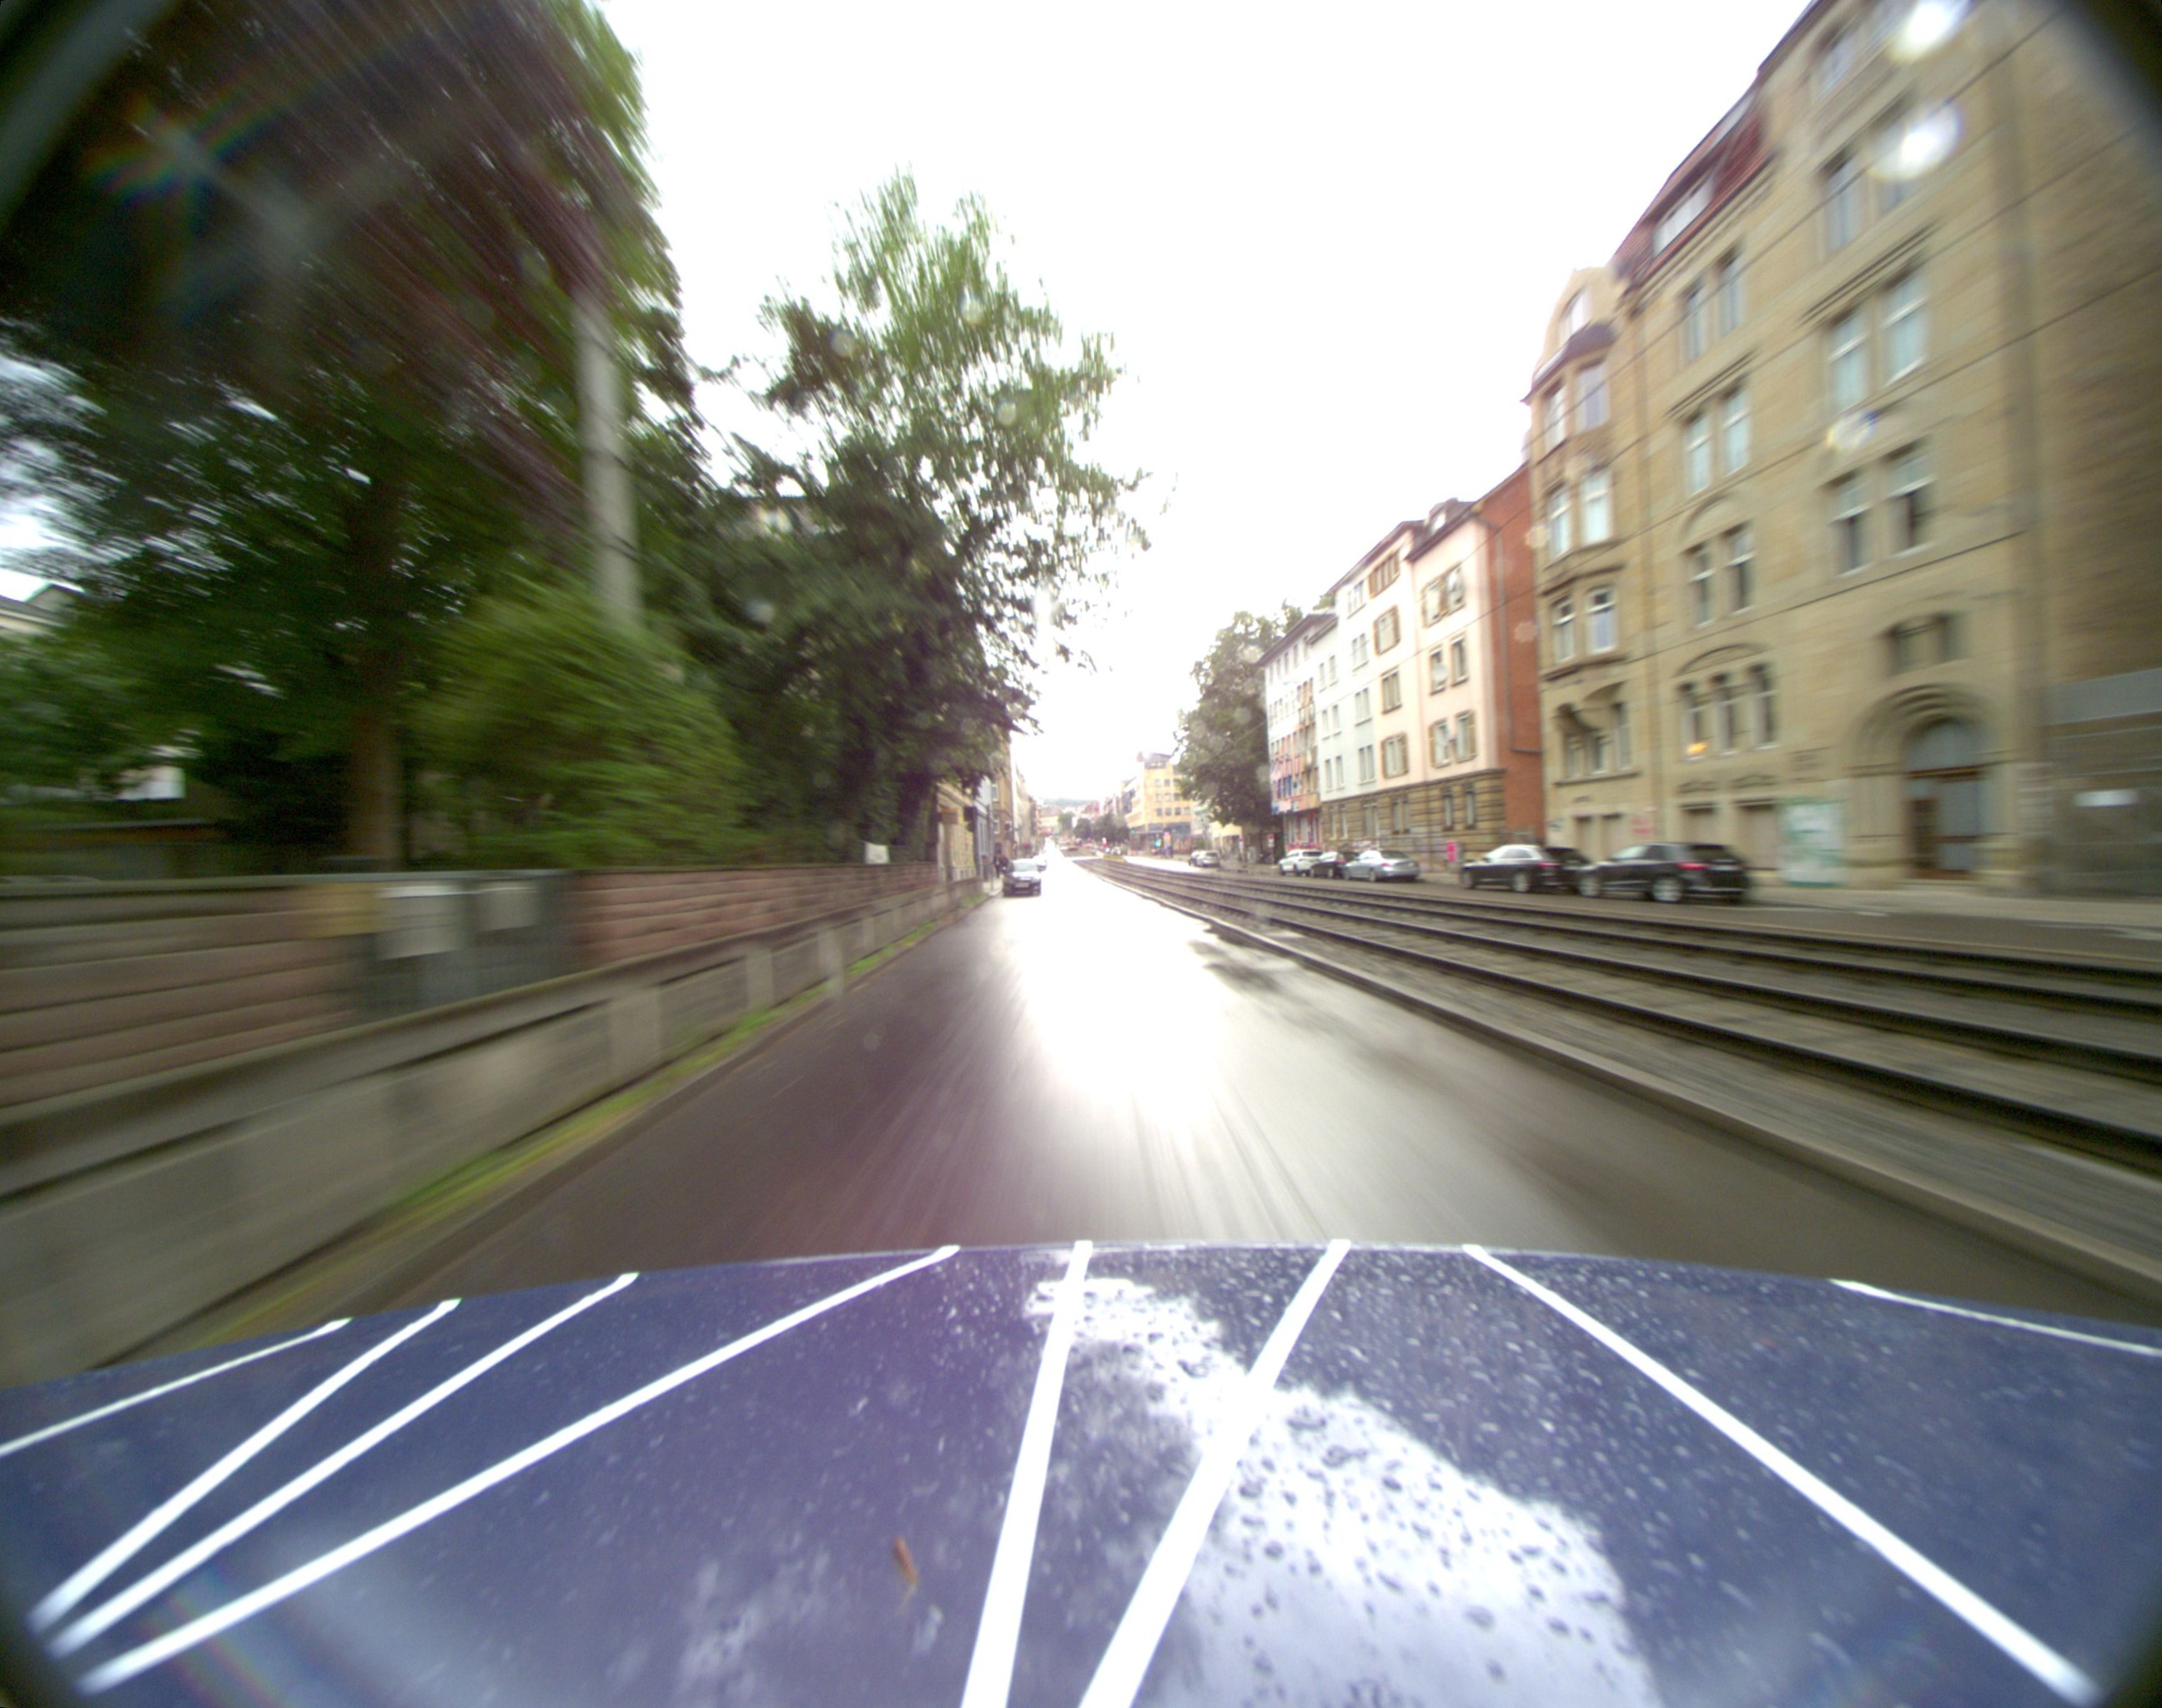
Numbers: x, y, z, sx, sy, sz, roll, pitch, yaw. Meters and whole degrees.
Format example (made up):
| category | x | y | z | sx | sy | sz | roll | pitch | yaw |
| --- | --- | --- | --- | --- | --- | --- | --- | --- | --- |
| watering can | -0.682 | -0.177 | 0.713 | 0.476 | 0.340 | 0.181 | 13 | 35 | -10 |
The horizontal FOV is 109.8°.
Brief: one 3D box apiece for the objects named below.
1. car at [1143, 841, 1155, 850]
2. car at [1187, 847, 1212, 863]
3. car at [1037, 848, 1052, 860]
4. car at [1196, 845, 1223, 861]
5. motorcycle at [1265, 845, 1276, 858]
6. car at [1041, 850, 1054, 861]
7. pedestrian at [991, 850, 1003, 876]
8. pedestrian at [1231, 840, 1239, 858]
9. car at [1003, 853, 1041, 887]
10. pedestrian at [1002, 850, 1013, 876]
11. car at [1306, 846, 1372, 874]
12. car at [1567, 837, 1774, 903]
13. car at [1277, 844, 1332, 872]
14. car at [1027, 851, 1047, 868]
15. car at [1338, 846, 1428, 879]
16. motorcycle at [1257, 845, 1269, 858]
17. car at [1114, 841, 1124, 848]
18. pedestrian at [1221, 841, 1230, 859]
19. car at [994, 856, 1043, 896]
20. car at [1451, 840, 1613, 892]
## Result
| category | x | y | z | sx | sy | sz | roll | pitch | yaw |
| --- | --- | --- | --- | --- | --- | --- | --- | --- | --- |
| car | 14.246 | -1.756 | 159.210 | 1.999 | 1.674 | 3.999 | -3 | 0 | -1 |
| car | 12.385 | 0.112 | 79.478 | 1.843 | 1.532 | 4.227 | -1 | 0 | -1 |
| car | -5.658 | -0.028 | 118.212 | 1.999 | 1.674 | 4.124 | -3 | 0 | -1 |
| car | 12.518 | -0.075 | 74.382 | 1.843 | 1.532 | 4.227 | -1 | 0 | -1 |
| motorcycle | 17.169 | -0.197 | 68.826 | 0.437 | 1.174 | 2.017 | -3 | 0 | -1 |
| car | -5.822 | 0.271 | 132.674 | 1.999 | 1.674 | 4.124 | -3 | 0 | -1 |
| pedestrian | -6.251 | 0.682 | 56.308 | 0.765 | 1.902 | 0.588 | -3 | 1 | -4 |
| pedestrian | 15.708 | -0.527 | 77.657 | 0.651 | 1.858 | 0.536 | -2 | 0 | 2 |
| car | -2.940 | 0.766 | 38.450 | 1.760 | 1.521 | 4.332 | -3 | 0 | -3 |
| pedestrian | -5.462 | 0.647 | 56.368 | 0.716 | 1.879 | 0.599 | -3 | 1 | -4 |
| car | 13.505 | 0.304 | 40.062 | 1.843 | 1.389 | 4.264 | -1 | 0 | -3 |
| car | 14.270 | 0.345 | 18.755 | 1.741 | 1.447 | 4.169 | 0 | 0 | -3 |
| car | 13.394 | 0.243 | 45.820 | 1.843 | 1.596 | 4.226 | -1 | 0 | -3 |
| car | -4.883 | 0.598 | 84.788 | 1.999 | 1.674 | 4.124 | -3 | 0 | -1 |
| car | 13.668 | 0.344 | 34.773 | 1.999 | 1.389 | 5.021 | 0 | 0 | -2 |
| motorcycle | 17.220 | -0.217 | 71.989 | 0.473 | 1.139 | 2.565 | -3 | 0 | -1 |
| car | 9.193 | -2.373 | 185.183 | 1.999 | 1.674 | 3.999 | -3 | 0 | -1 |
| pedestrian | 14.751 | -0.386 | 77.677 | 0.809 | 1.858 | 0.536 | -2 | 0 | 1 |
| car | -2.614 | 0.879 | 32.653 | 1.788 | 1.521 | 4.244 | -3 | 0 | -1 |
| car | 14.038 | 0.341 | 24.100 | 1.999 | 1.447 | 5.020 | 0 | 0 | -3 |
